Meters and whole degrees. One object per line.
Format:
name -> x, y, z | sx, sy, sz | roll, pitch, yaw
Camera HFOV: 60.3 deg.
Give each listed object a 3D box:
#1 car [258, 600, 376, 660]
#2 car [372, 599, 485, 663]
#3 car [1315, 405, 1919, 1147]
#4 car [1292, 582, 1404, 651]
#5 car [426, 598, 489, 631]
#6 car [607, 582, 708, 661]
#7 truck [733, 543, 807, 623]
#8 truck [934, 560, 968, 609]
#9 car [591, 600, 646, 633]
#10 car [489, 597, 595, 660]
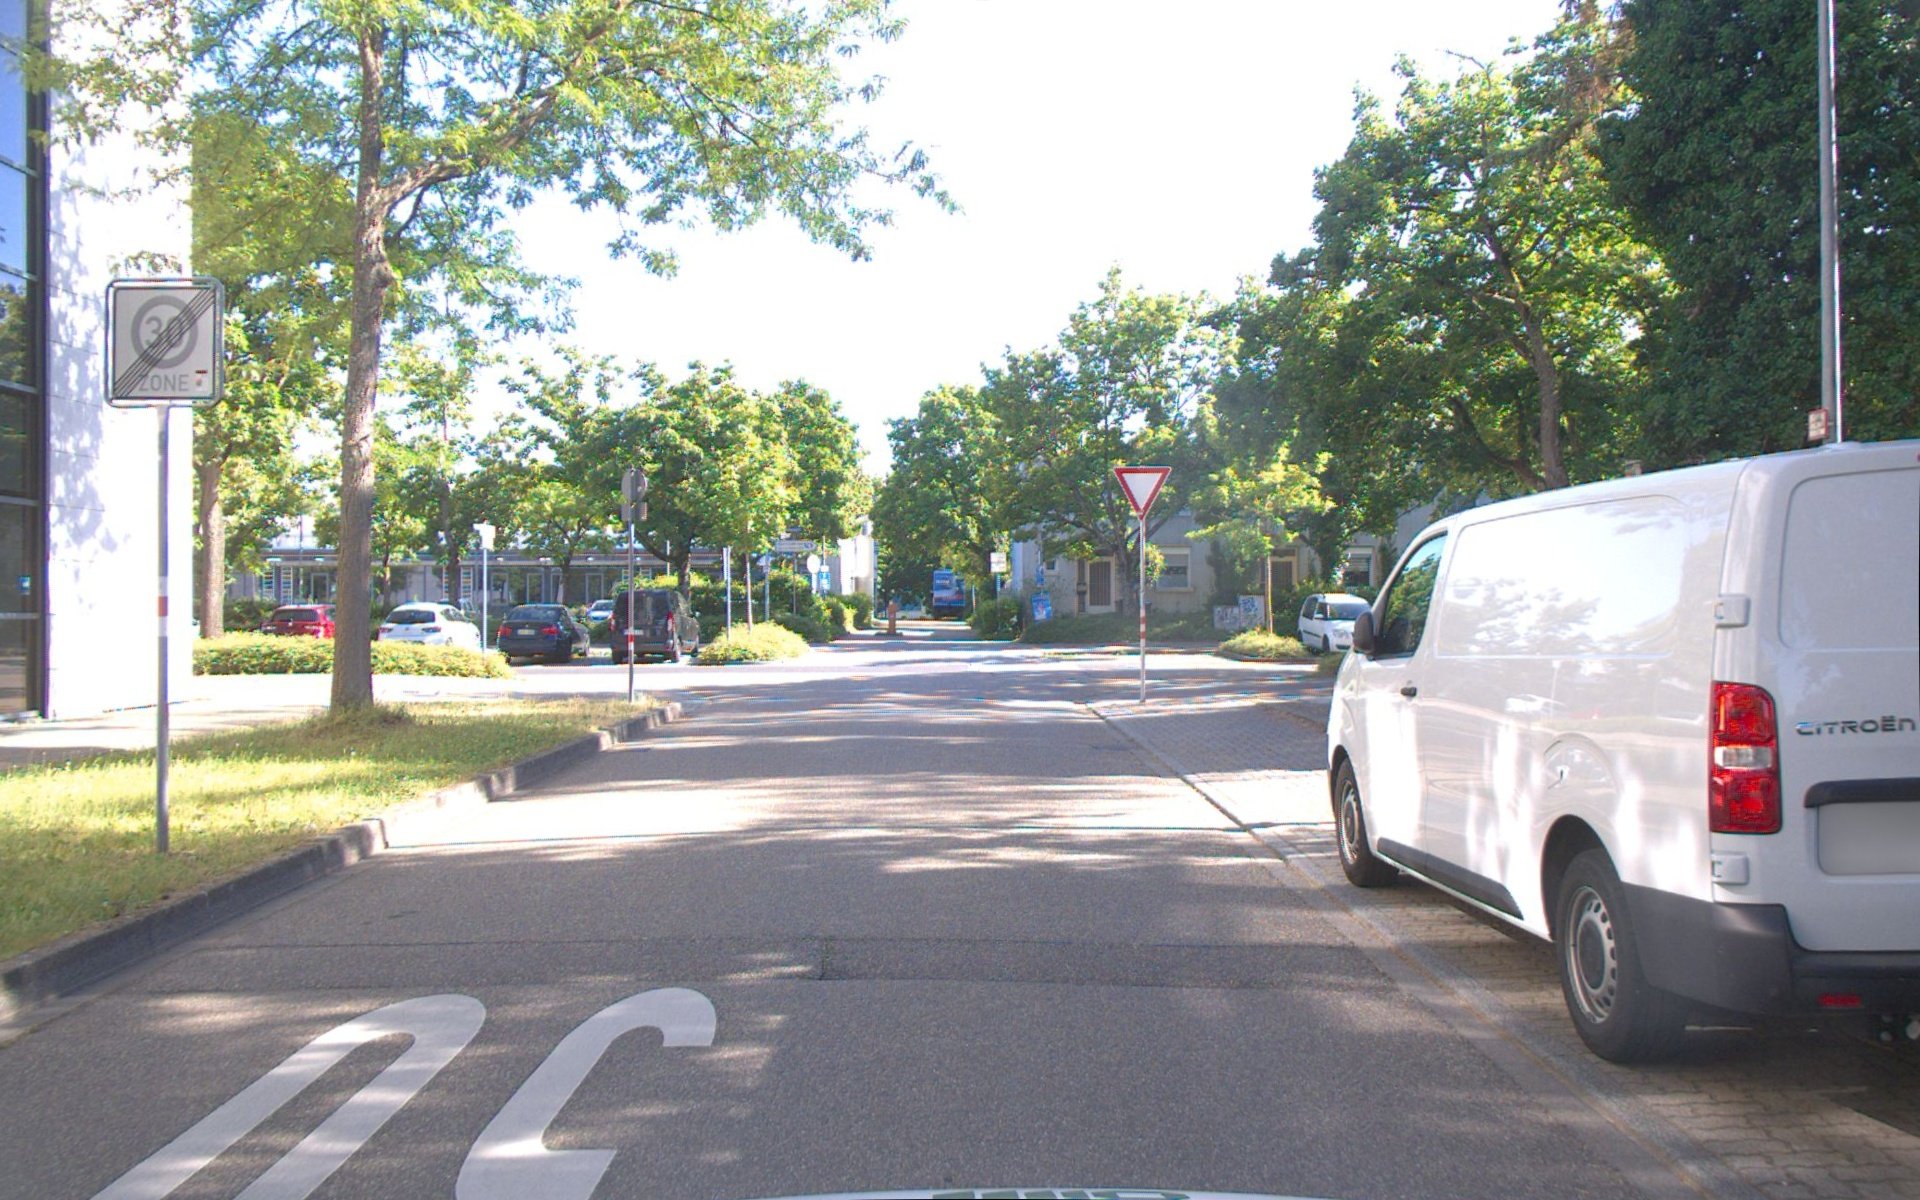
car -> -16.543, 0.737, 42.734 | 1.633, 1.451, 3.910 | 1, 0, -2
car -> -13.637, 0.767, 42.642 | 1.766, 1.461, 3.911 | 0, 2, -2
car -> 2.972, 0.433, 6.941 | 1.859, 1.947, 5.148 | -1, 0, 0
car -> 10.047, 0.387, 43.118 | 1.786, 1.625, 4.167 | -1, 1, -2
car -> -24.927, 0.711, 82.147 | 1.798, 1.524, 3.909 | -1, 1, 2
car -> -7.782, 0.509, 42.863 | 1.835, 1.879, 4.168 | -1, 1, 0
truck -> -9.575, -0.847, 83.954 | 2.744, 3.873, 6.925 | 1, 0, 1
truck -> -0.713, -1.297, 137.602 | 2.703, 3.937, 9.329 | 1, 0, 0
car -> -16.869, 0.799, 81.944 | 1.798, 1.524, 3.909 | -1, 1, 2
car -> -10.717, 0.691, 42.673 | 1.786, 1.430, 4.167 | -1, 2, -2
